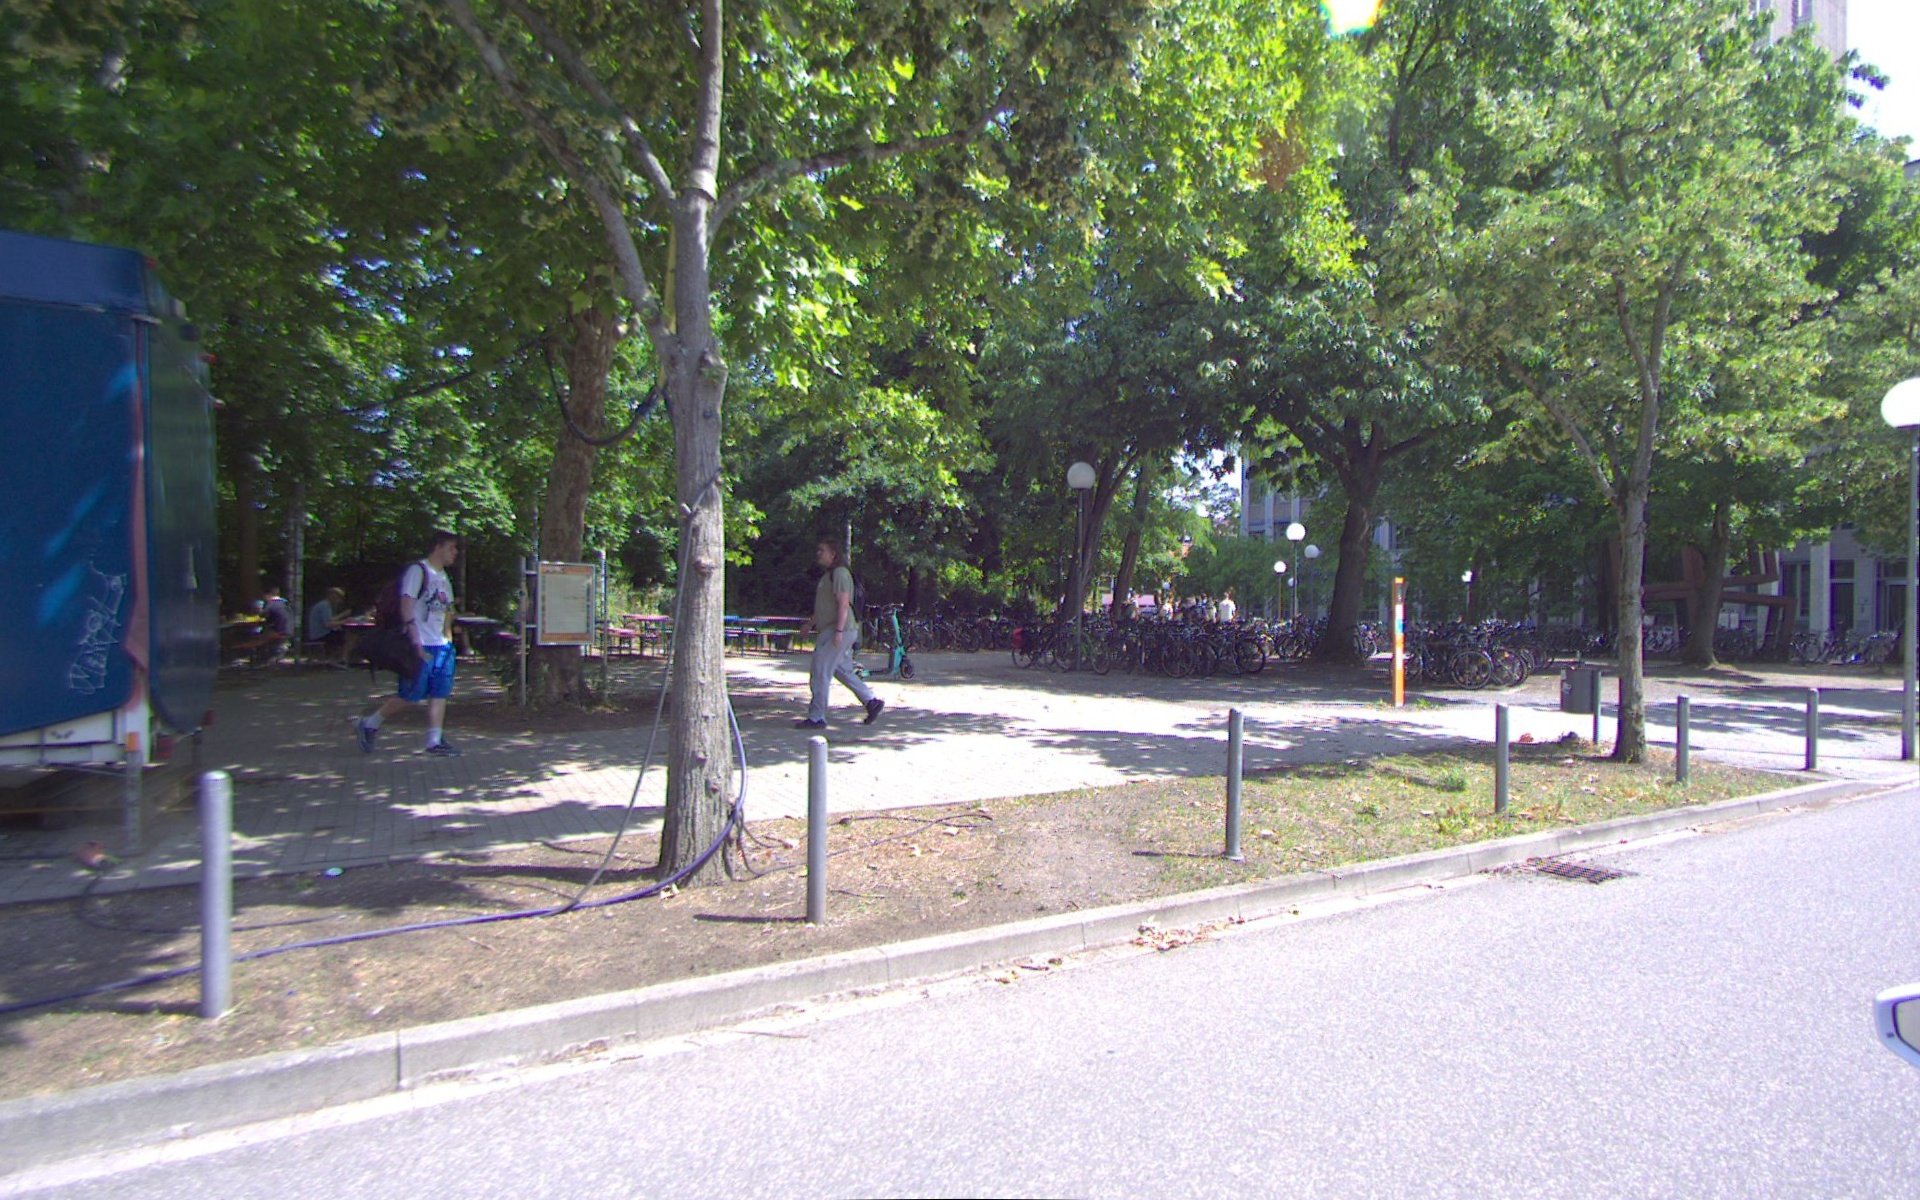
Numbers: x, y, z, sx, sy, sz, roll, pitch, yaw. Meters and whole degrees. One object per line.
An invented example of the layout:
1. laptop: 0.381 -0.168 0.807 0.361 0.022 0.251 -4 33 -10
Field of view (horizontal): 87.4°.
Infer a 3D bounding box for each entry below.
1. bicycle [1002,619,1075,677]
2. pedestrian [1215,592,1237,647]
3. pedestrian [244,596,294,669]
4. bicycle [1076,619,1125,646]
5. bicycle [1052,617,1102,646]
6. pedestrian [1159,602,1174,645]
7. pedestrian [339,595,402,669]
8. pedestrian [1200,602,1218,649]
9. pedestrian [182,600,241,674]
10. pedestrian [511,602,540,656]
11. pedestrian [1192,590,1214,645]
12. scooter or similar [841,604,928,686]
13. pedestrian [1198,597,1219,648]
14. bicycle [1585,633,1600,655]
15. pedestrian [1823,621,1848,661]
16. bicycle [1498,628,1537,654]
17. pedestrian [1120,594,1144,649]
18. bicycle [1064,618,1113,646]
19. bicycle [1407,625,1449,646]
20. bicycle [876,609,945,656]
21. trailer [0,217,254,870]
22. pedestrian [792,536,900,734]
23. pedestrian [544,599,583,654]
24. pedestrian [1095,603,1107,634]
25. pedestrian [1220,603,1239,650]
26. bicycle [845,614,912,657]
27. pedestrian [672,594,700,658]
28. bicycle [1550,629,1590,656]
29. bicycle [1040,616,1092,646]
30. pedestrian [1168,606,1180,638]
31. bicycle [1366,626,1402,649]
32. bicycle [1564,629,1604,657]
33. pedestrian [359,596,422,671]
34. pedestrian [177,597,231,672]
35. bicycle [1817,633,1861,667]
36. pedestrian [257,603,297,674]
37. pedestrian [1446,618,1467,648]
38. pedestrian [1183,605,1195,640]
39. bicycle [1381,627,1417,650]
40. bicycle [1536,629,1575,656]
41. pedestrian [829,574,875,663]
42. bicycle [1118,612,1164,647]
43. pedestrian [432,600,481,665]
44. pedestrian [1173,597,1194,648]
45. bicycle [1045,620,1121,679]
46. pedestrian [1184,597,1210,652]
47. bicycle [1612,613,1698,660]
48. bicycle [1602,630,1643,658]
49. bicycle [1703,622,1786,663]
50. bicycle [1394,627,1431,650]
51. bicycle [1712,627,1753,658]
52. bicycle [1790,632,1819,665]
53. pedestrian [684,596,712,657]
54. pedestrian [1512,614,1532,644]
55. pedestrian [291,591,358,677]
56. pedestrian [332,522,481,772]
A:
1. bicycle: 1.503 0.921 19.607 0.531 1.028 1.795 1 0 -27
2. pedestrian: 9.526 0.689 35.936 0.635 1.960 0.696 1 0 24
3. pedestrian: -12.599 0.584 18.336 0.685 1.288 0.557 1 0 -30
4. bicycle: 4.916 1.132 35.333 1.741 0.906 0.417 1 1 40
5. bicycle: 3.927 1.053 33.811 1.741 0.906 0.417 1 1 40
6. pedestrian: 7.826 0.892 38.038 0.452 1.636 0.351 1 0 1
7. pedestrian: -10.322 0.549 17.599 0.584 1.250 0.742 1 2 25
8. pedestrian: 10.920 1.120 44.043 0.511 2.040 0.532 1 0 -16
9. pedestrian: -13.926 0.674 18.706 0.769 1.341 0.684 1 -1 -29
10. pedestrian: -9.515 0.634 22.005 0.503 1.155 0.332 1 1 -42
11. pedestrian: 8.792 0.638 36.358 0.610 1.960 0.681 1 0 24
12. scooter or similar: -1.227 0.721 16.362 1.227 1.263 0.695 1 0 -31
13. pedestrian: 8.386 0.762 33.885 0.545 1.693 0.693 1 0 24
14. bicycle: 24.242 1.676 38.497 0.317 0.773 1.559 1 0 26
15. pedestrian: 37.962 1.775 43.560 0.623 1.683 0.693 1 0 28
16. bicycle: 24.153 1.780 43.514 1.950 1.101 0.549 1 1 -31
17. pedestrian: 5.414 0.674 31.659 0.567 1.693 0.630 1 0 24
18. bicycle: 4.430 1.090 34.686 1.741 0.906 0.417 1 1 40
19. bicycle: 21.225 1.605 45.531 2.627 0.882 0.544 1 0 -38
20. bicycle: -1.272 0.813 25.299 0.593 1.106 1.933 2 -1 -43
21. trailer: -7.211 -0.322 4.650 6.195 3.067 2.682 1 0 -31
22. pedestrian: -1.217 0.348 10.572 0.879 1.981 0.916 2 2 -21
23. pedestrian: -8.892 0.584 22.526 0.724 1.210 0.387 1 1 -40
24. pedestrian: 9.233 1.219 65.686 0.566 2.040 0.532 1 0 -16
25. pedestrian: 11.741 1.146 43.751 0.583 2.040 0.532 1 0 -16
26. bicycle: -1.993 0.856 24.335 0.543 0.955 1.860 2 -1 -43
27. pedestrian: -6.749 0.626 24.742 0.470 1.543 0.501 1 1 -41
28. bicycle: 25.611 1.792 42.181 1.950 1.101 0.549 1 1 -31
29. bicycle: 3.457 0.996 32.954 1.741 0.906 0.417 1 1 40
30. pedestrian: 10.691 1.101 50.192 0.402 1.547 0.486 2 0 29
31. bicycle: 20.941 1.864 49.607 1.950 1.101 0.549 1 1 -31
32. bicycle: 25.820 1.778 41.538 1.950 1.101 0.549 1 1 -31
33. pedestrian: -9.792 0.561 17.289 0.584 1.250 0.742 1 2 25
34. pedestrian: -13.428 0.602 17.848 0.685 1.288 0.557 1 0 -30
35. bicycle: 30.036 1.695 34.318 1.950 1.101 0.549 1 1 -31
36. pedestrian: -13.165 0.730 19.367 0.552 1.341 0.642 1 -1 -29
37. pedestrian: 26.955 1.799 54.523 0.590 1.614 0.824 1 0 -29
38. pedestrian: 11.411 1.107 49.985 0.405 1.736 0.544 2 0 29
39. bicycle: 21.525 1.874 49.218 1.950 1.101 0.549 1 1 -31
40. bicycle: 25.374 1.804 42.799 1.950 1.101 0.549 1 1 -31
41. pedestrian: -2.301 0.389 21.445 0.796 1.873 0.527 1 0 -30
42. bicycle: 6.803 1.092 37.824 1.772 1.223 0.422 1 1 43
43. pedestrian: -10.174 0.642 20.292 0.761 1.267 0.563 1 1 -42
44. pedestrian: 7.614 0.749 34.193 0.545 1.693 0.703 1 0 24
45. bicycle: 2.354 0.932 19.408 0.531 1.028 1.795 1 0 -28
46. pedestrian: 7.475 0.754 31.674 0.620 1.693 0.730 1 0 24
47. bicycle: 22.833 1.195 33.042 2.248 1.469 0.606 1 0 27
48. bicycle: 26.546 1.762 40.248 1.950 1.101 0.549 1 1 -31
49. bicycle: 24.919 1.336 31.948 1.984 1.270 0.586 0 -1 28
50. bicycle: 21.790 1.854 48.358 1.950 1.101 0.549 1 1 -31
51. bicycle: 26.767 1.476 34.801 1.828 1.046 0.473 1 0 -31
52. bicycle: 26.439 1.515 31.453 1.644 0.978 0.471 1 0 -42
53. pedestrian: -6.243 0.625 23.974 0.456 1.441 0.501 1 1 -40
54. pedestrian: 29.685 1.520 53.017 0.714 1.561 0.696 1 0 -40
55. pedestrian: -10.629 0.544 16.812 0.584 1.388 0.742 1 2 25
56. pedestrian: -4.425 0.356 8.051 0.975 1.855 0.795 1 0 -30
